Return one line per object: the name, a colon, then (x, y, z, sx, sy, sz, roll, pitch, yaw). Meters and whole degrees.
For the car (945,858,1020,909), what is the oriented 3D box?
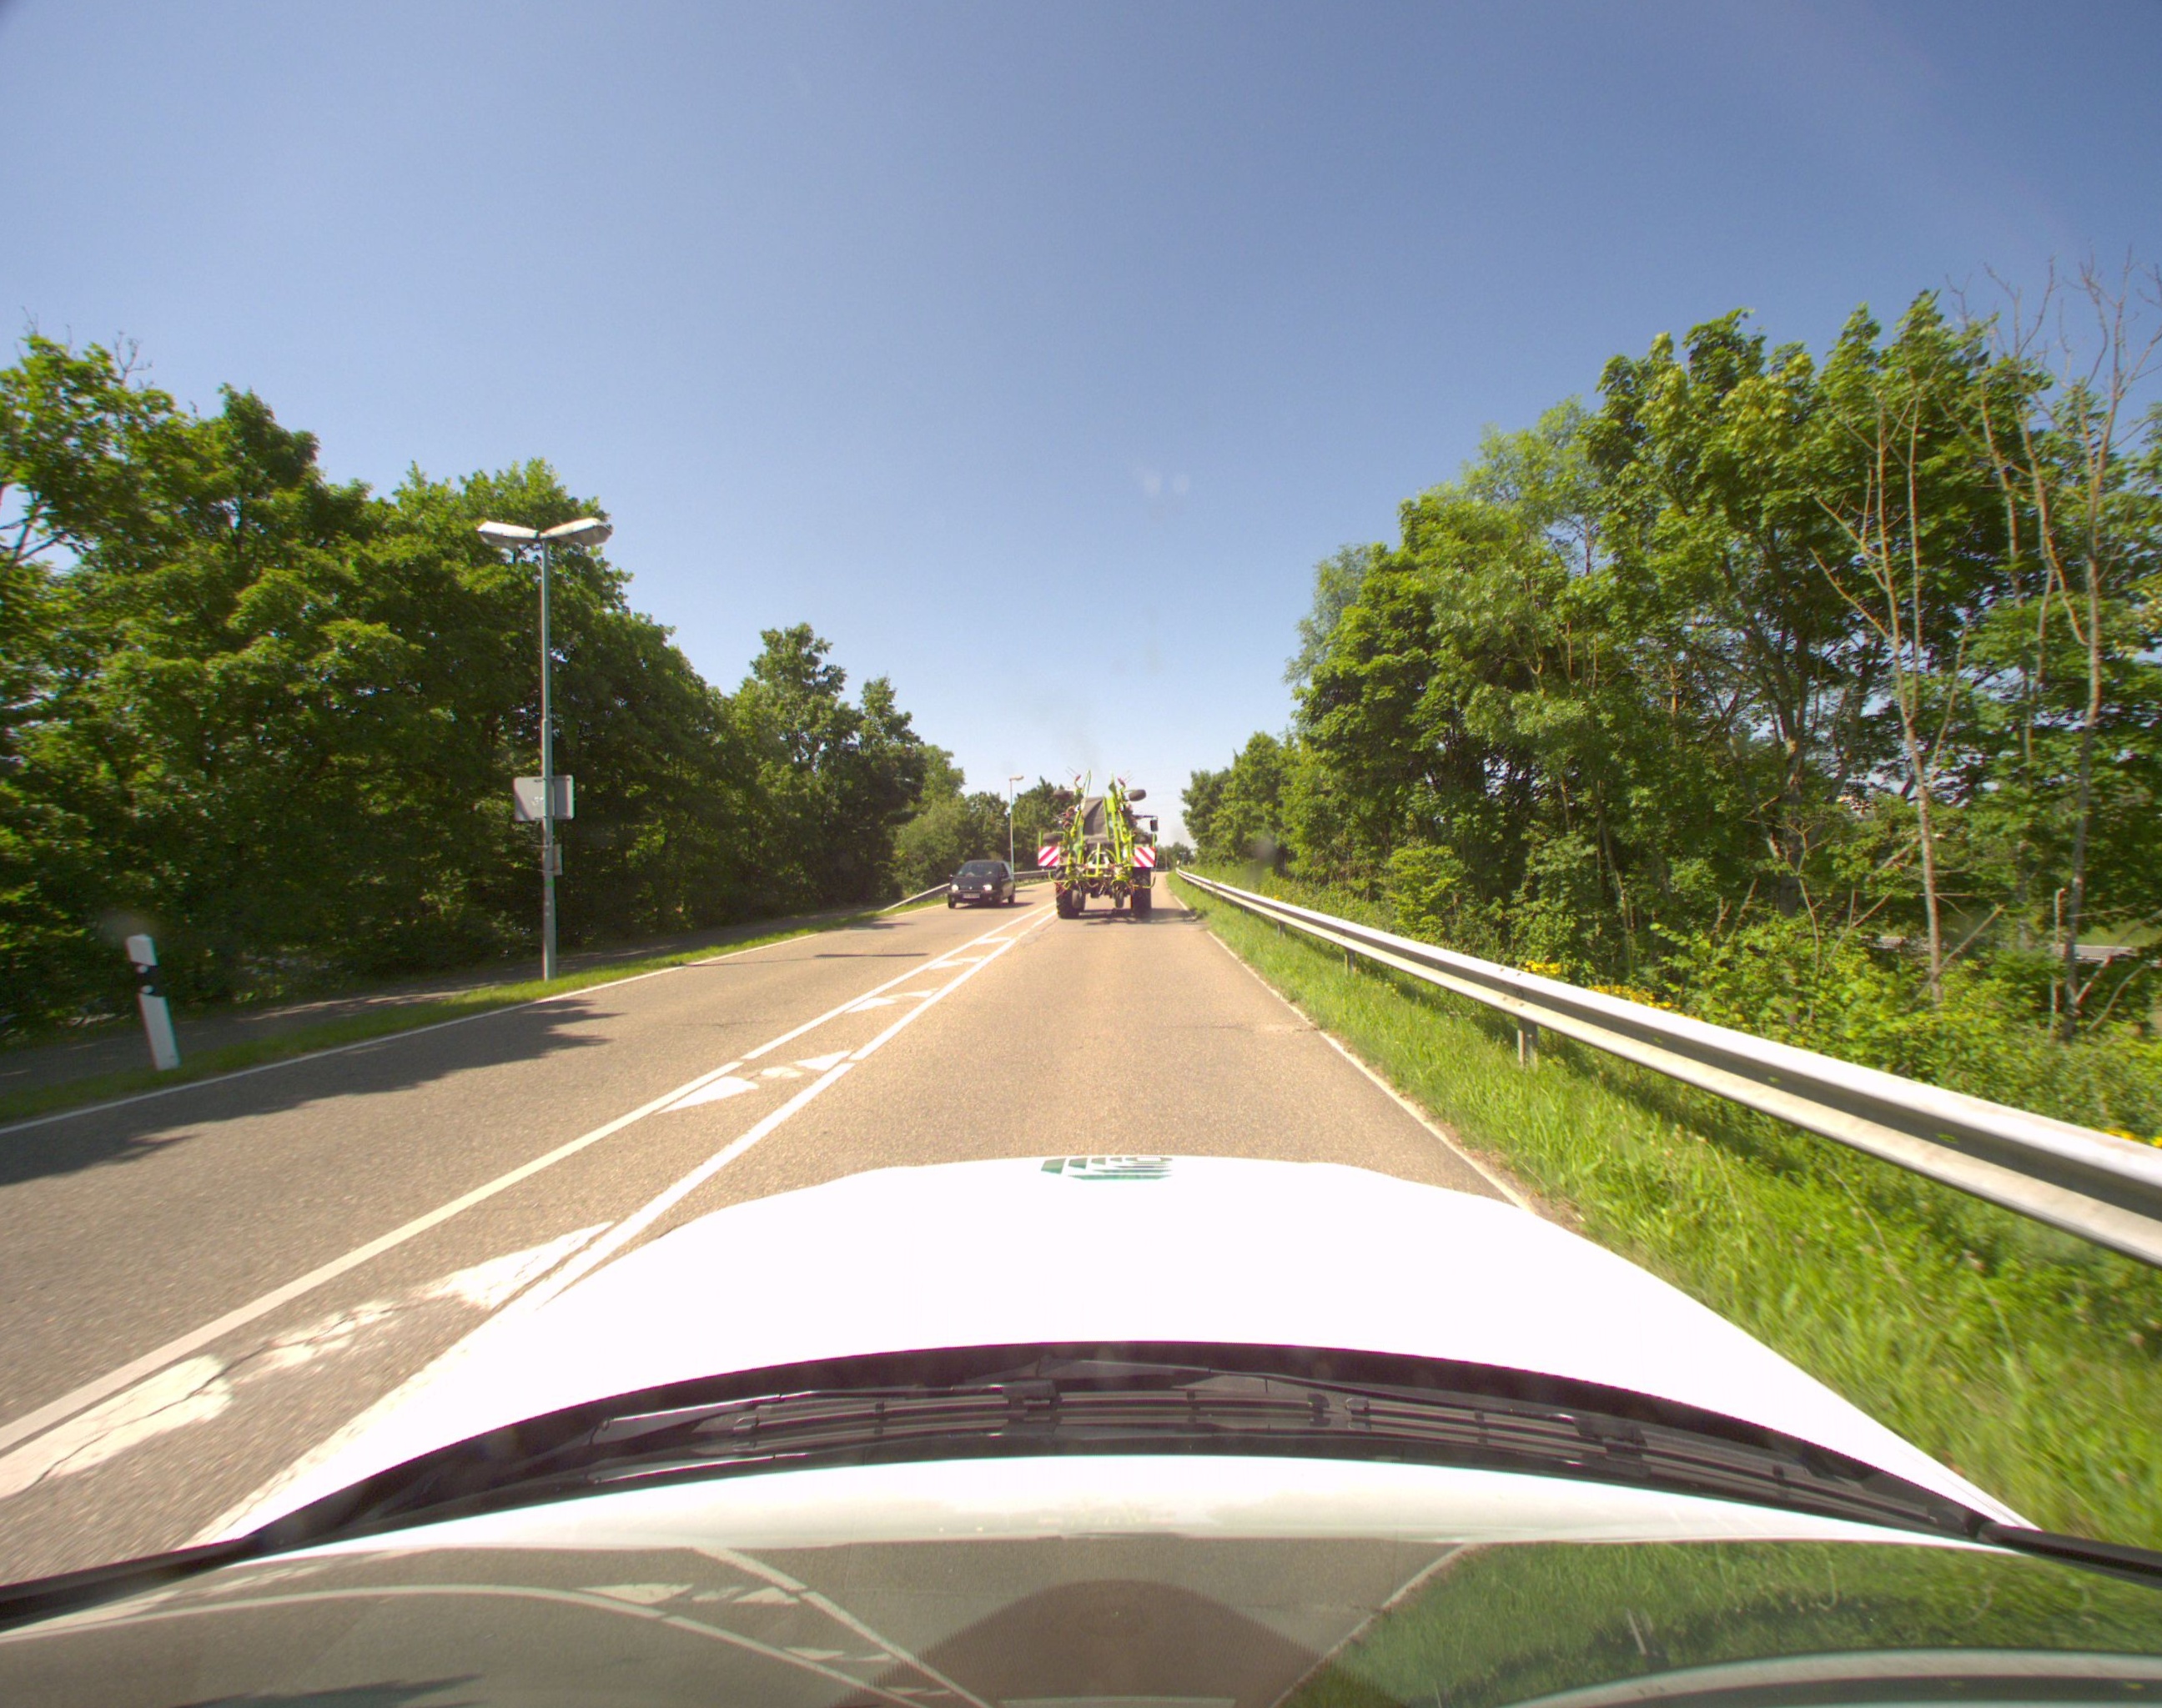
car: (-3.008, 0.865, 25.481, 1.619, 1.404, 3.438, -1, 1, 5)

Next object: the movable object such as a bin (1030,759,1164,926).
movable object such as a bin: (0.469, -0.226, 19.878, 2.744, 3.444, 5.673, -1, 0, 3)

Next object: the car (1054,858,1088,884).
car: (-0.560, 0.982, 48.287, 1.732, 1.456, 3.892, 0, 0, 3)
